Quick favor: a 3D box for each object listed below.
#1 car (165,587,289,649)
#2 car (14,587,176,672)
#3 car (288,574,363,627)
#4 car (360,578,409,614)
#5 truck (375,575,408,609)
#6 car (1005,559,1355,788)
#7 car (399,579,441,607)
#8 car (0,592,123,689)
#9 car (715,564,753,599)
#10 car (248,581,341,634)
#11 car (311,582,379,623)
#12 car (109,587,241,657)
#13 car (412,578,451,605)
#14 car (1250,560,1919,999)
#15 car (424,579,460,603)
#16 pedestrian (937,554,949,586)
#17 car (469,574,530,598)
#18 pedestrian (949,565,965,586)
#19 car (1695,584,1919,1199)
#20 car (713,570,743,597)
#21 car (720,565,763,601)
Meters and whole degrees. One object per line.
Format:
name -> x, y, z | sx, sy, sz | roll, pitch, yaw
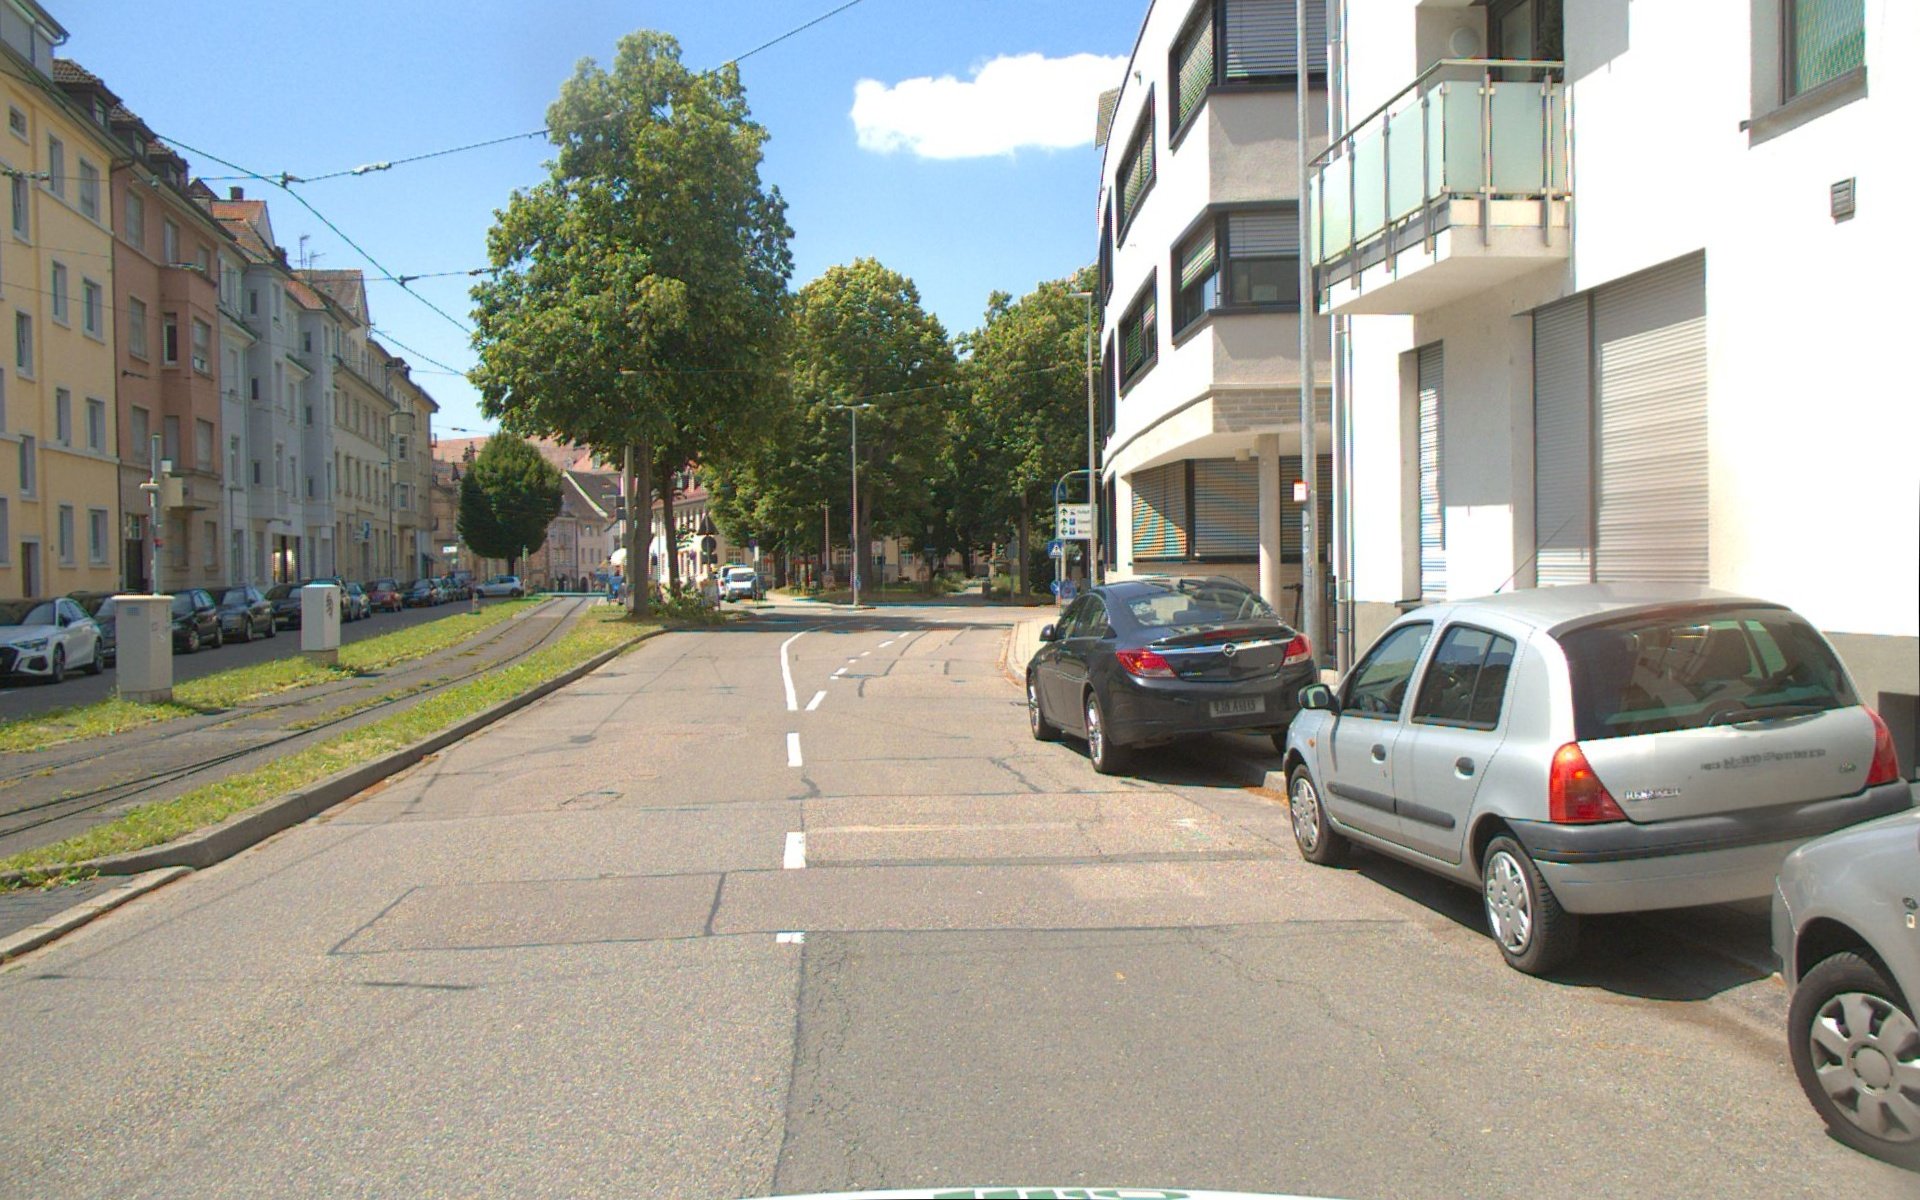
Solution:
car -> -19.478, 0.423, 44.192 | 1.893, 1.422, 4.851 | -3, 2, -11
car -> -17.682, 0.548, 34.036 | 1.895, 1.531, 4.311 | -2, 2, -14
car -> -22.704, -0.014, 59.288 | 1.804, 1.714, 4.130 | -3, 2, -12
car -> -25.756, -0.214, 74.109 | 1.544, 1.476, 3.615 | -3, 2, -12
truck -> -26.882, -0.383, 78.242 | 1.106, 1.520, 2.586 | -3, 2, -13
car -> 1.702, 0.527, 14.460 | 1.767, 1.535, 4.539 | -5, 1, -8
car -> -28.941, -0.377, 88.775 | 1.657, 1.383, 3.846 | -3, 2, -12
car -> -16.248, 0.685, 28.841 | 1.895, 1.476, 4.361 | -4, 2, -14
car -> -13.498, -1.134, 98.469 | 2.012, 2.037, 5.236 | 0, 1, -10
car -> -21.569, 0.194, 53.794 | 1.894, 1.516, 4.849 | -3, 2, -12
car -> -23.698, 0.071, 63.854 | 1.775, 1.380, 4.238 | -3, 2, -12
car -> -18.327, 0.472, 38.792 | 1.798, 1.424, 4.131 | -2, 1, -12
car -> -30.137, -0.514, 94.363 | 1.657, 1.414, 3.846 | -3, 2, -12
car -> 2.723, 0.632, 7.874 | 1.563, 1.457, 3.701 | -5, 1, -7
car -> -31.020, -0.570, 99.140 | 1.657, 1.300, 3.279 | -3, 2, -12
pedestrian -> -1.065, -1.870, 103.224 | 0.732, 1.944, 0.685 | 0, 2, 3
car -> -33.108, -1.016, 118.924 | 4.135, 1.531, 1.995 | -3, 2, -16
pedestrian -> -0.197, -1.520, 103.133 | 0.887, 1.273, 1.149 | 0, 2, 3
car -> 3.199, 0.688, 3.007 | 1.693, 1.457, 4.040 | -5, 1, -3
car -> -14.859, -1.095, 105.794 | 1.751, 1.652, 4.475 | 0, 1, -10
car -> -11.913, -0.944, 90.104 | 1.959, 1.858, 4.409 | -1, 1, -12
